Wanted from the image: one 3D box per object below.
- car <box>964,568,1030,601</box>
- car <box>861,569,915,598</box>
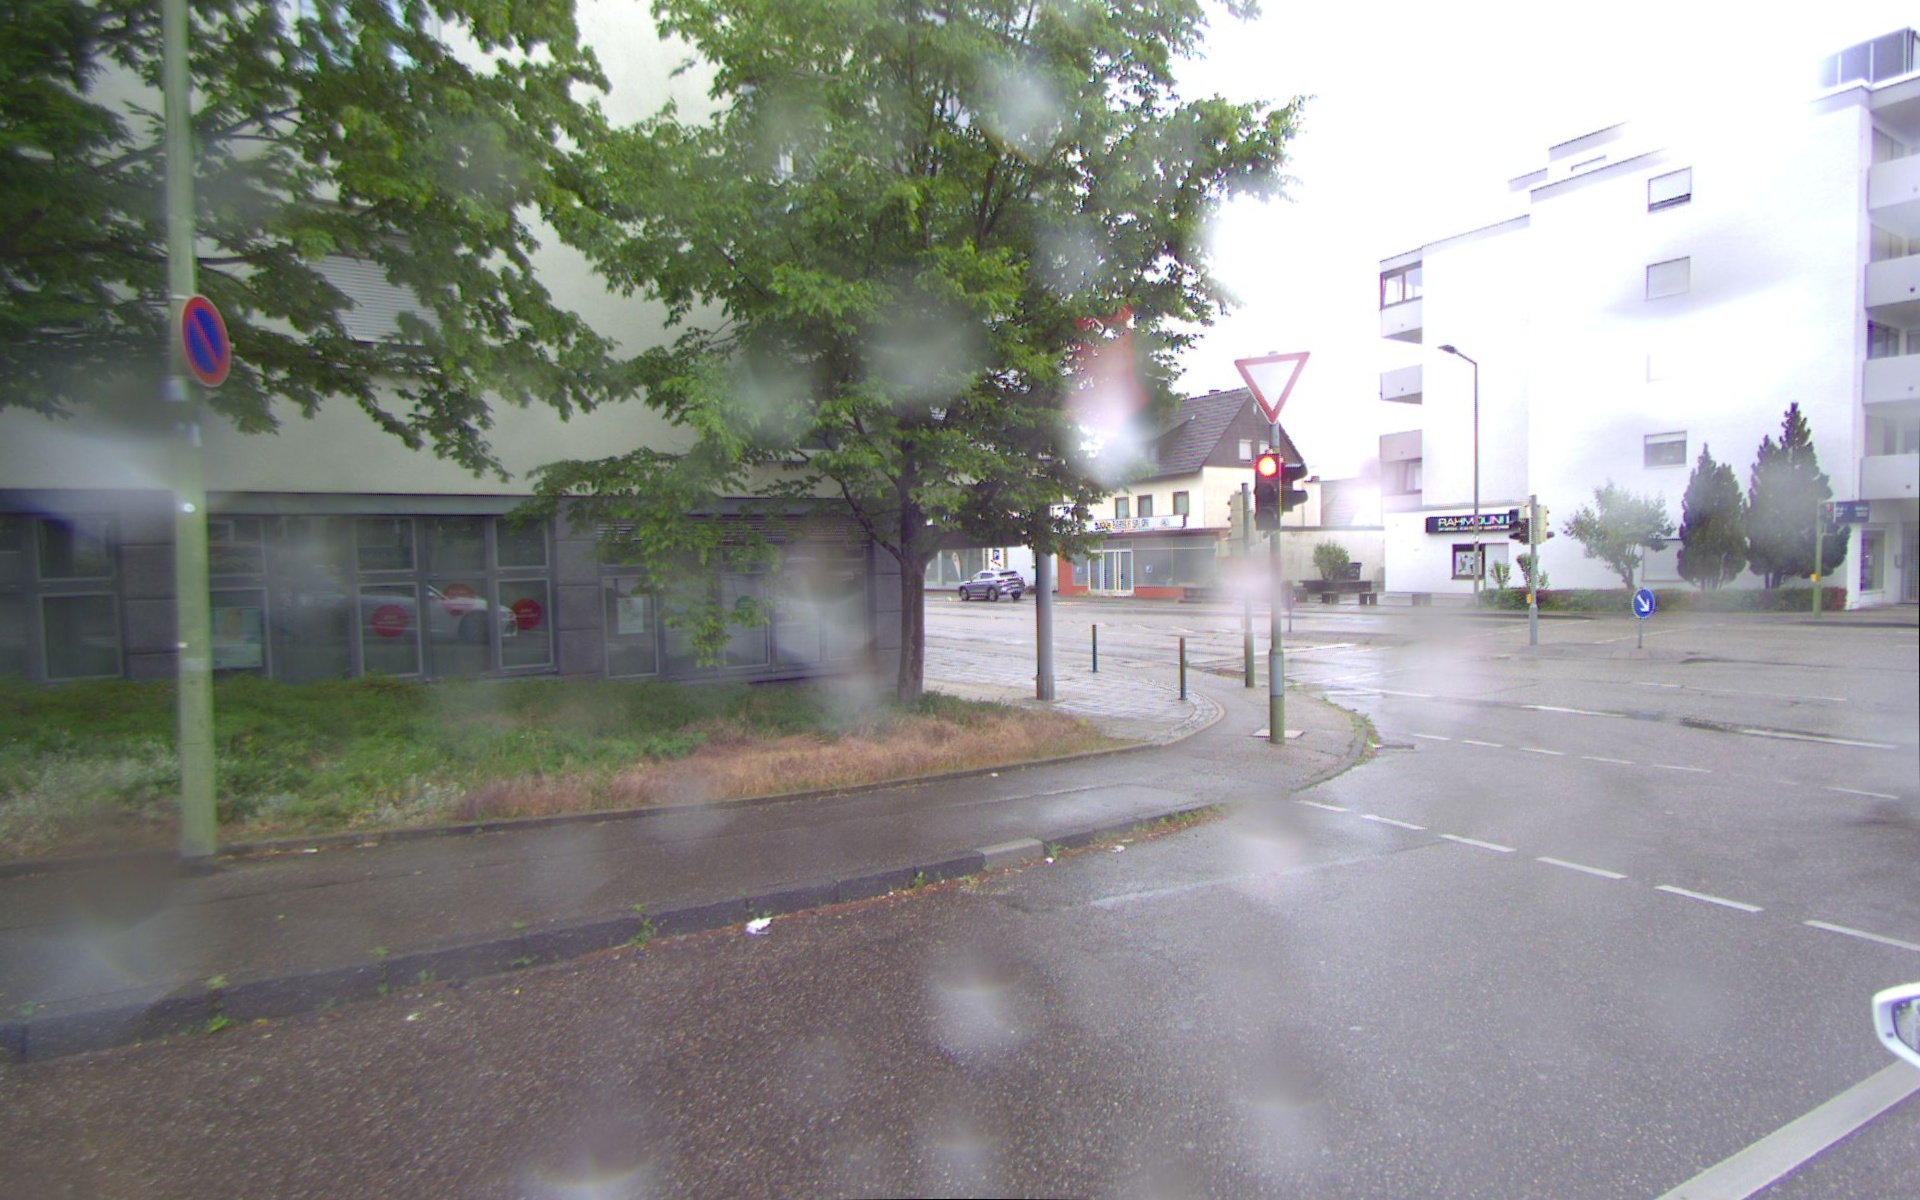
[{"bbox_3d":[2.064,-0.899,56.871,1.976,1.718,3.968,-1,3,-30],"label":"car"},{"bbox_3d":[-4.813,-1.121,66.808,2.087,1.719,3.968,0,4,-30],"label":"car"}]
